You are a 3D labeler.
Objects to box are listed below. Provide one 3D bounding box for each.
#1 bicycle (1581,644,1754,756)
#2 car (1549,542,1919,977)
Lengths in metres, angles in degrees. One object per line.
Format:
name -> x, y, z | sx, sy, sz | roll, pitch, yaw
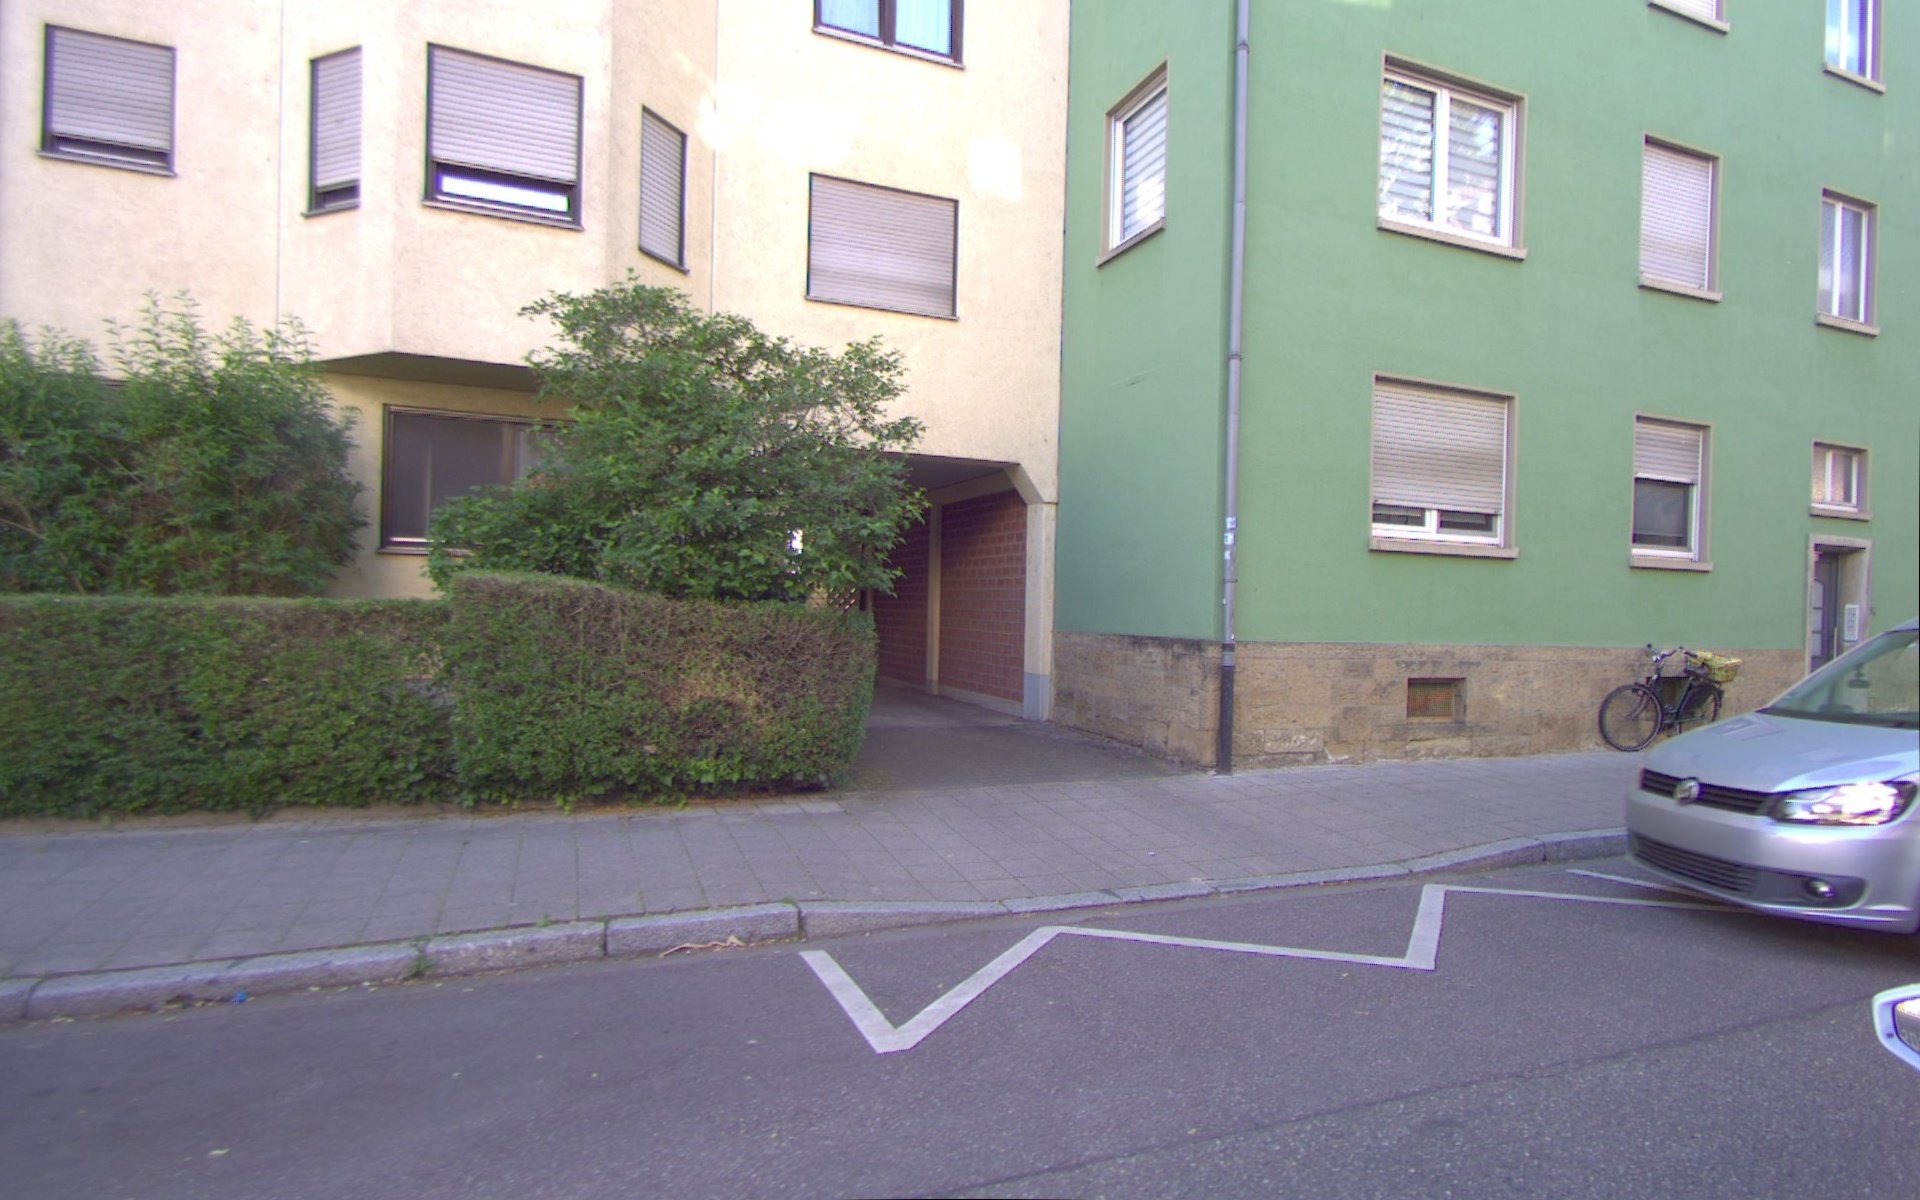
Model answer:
bicycle -> 7.631, 1.063, 10.820 | 1.941, 1.090, 0.485 | 2, 3, -23
car -> 5.772, 0.758, 5.278 | 4.329, 1.867, 1.777 | 1, -2, -1
